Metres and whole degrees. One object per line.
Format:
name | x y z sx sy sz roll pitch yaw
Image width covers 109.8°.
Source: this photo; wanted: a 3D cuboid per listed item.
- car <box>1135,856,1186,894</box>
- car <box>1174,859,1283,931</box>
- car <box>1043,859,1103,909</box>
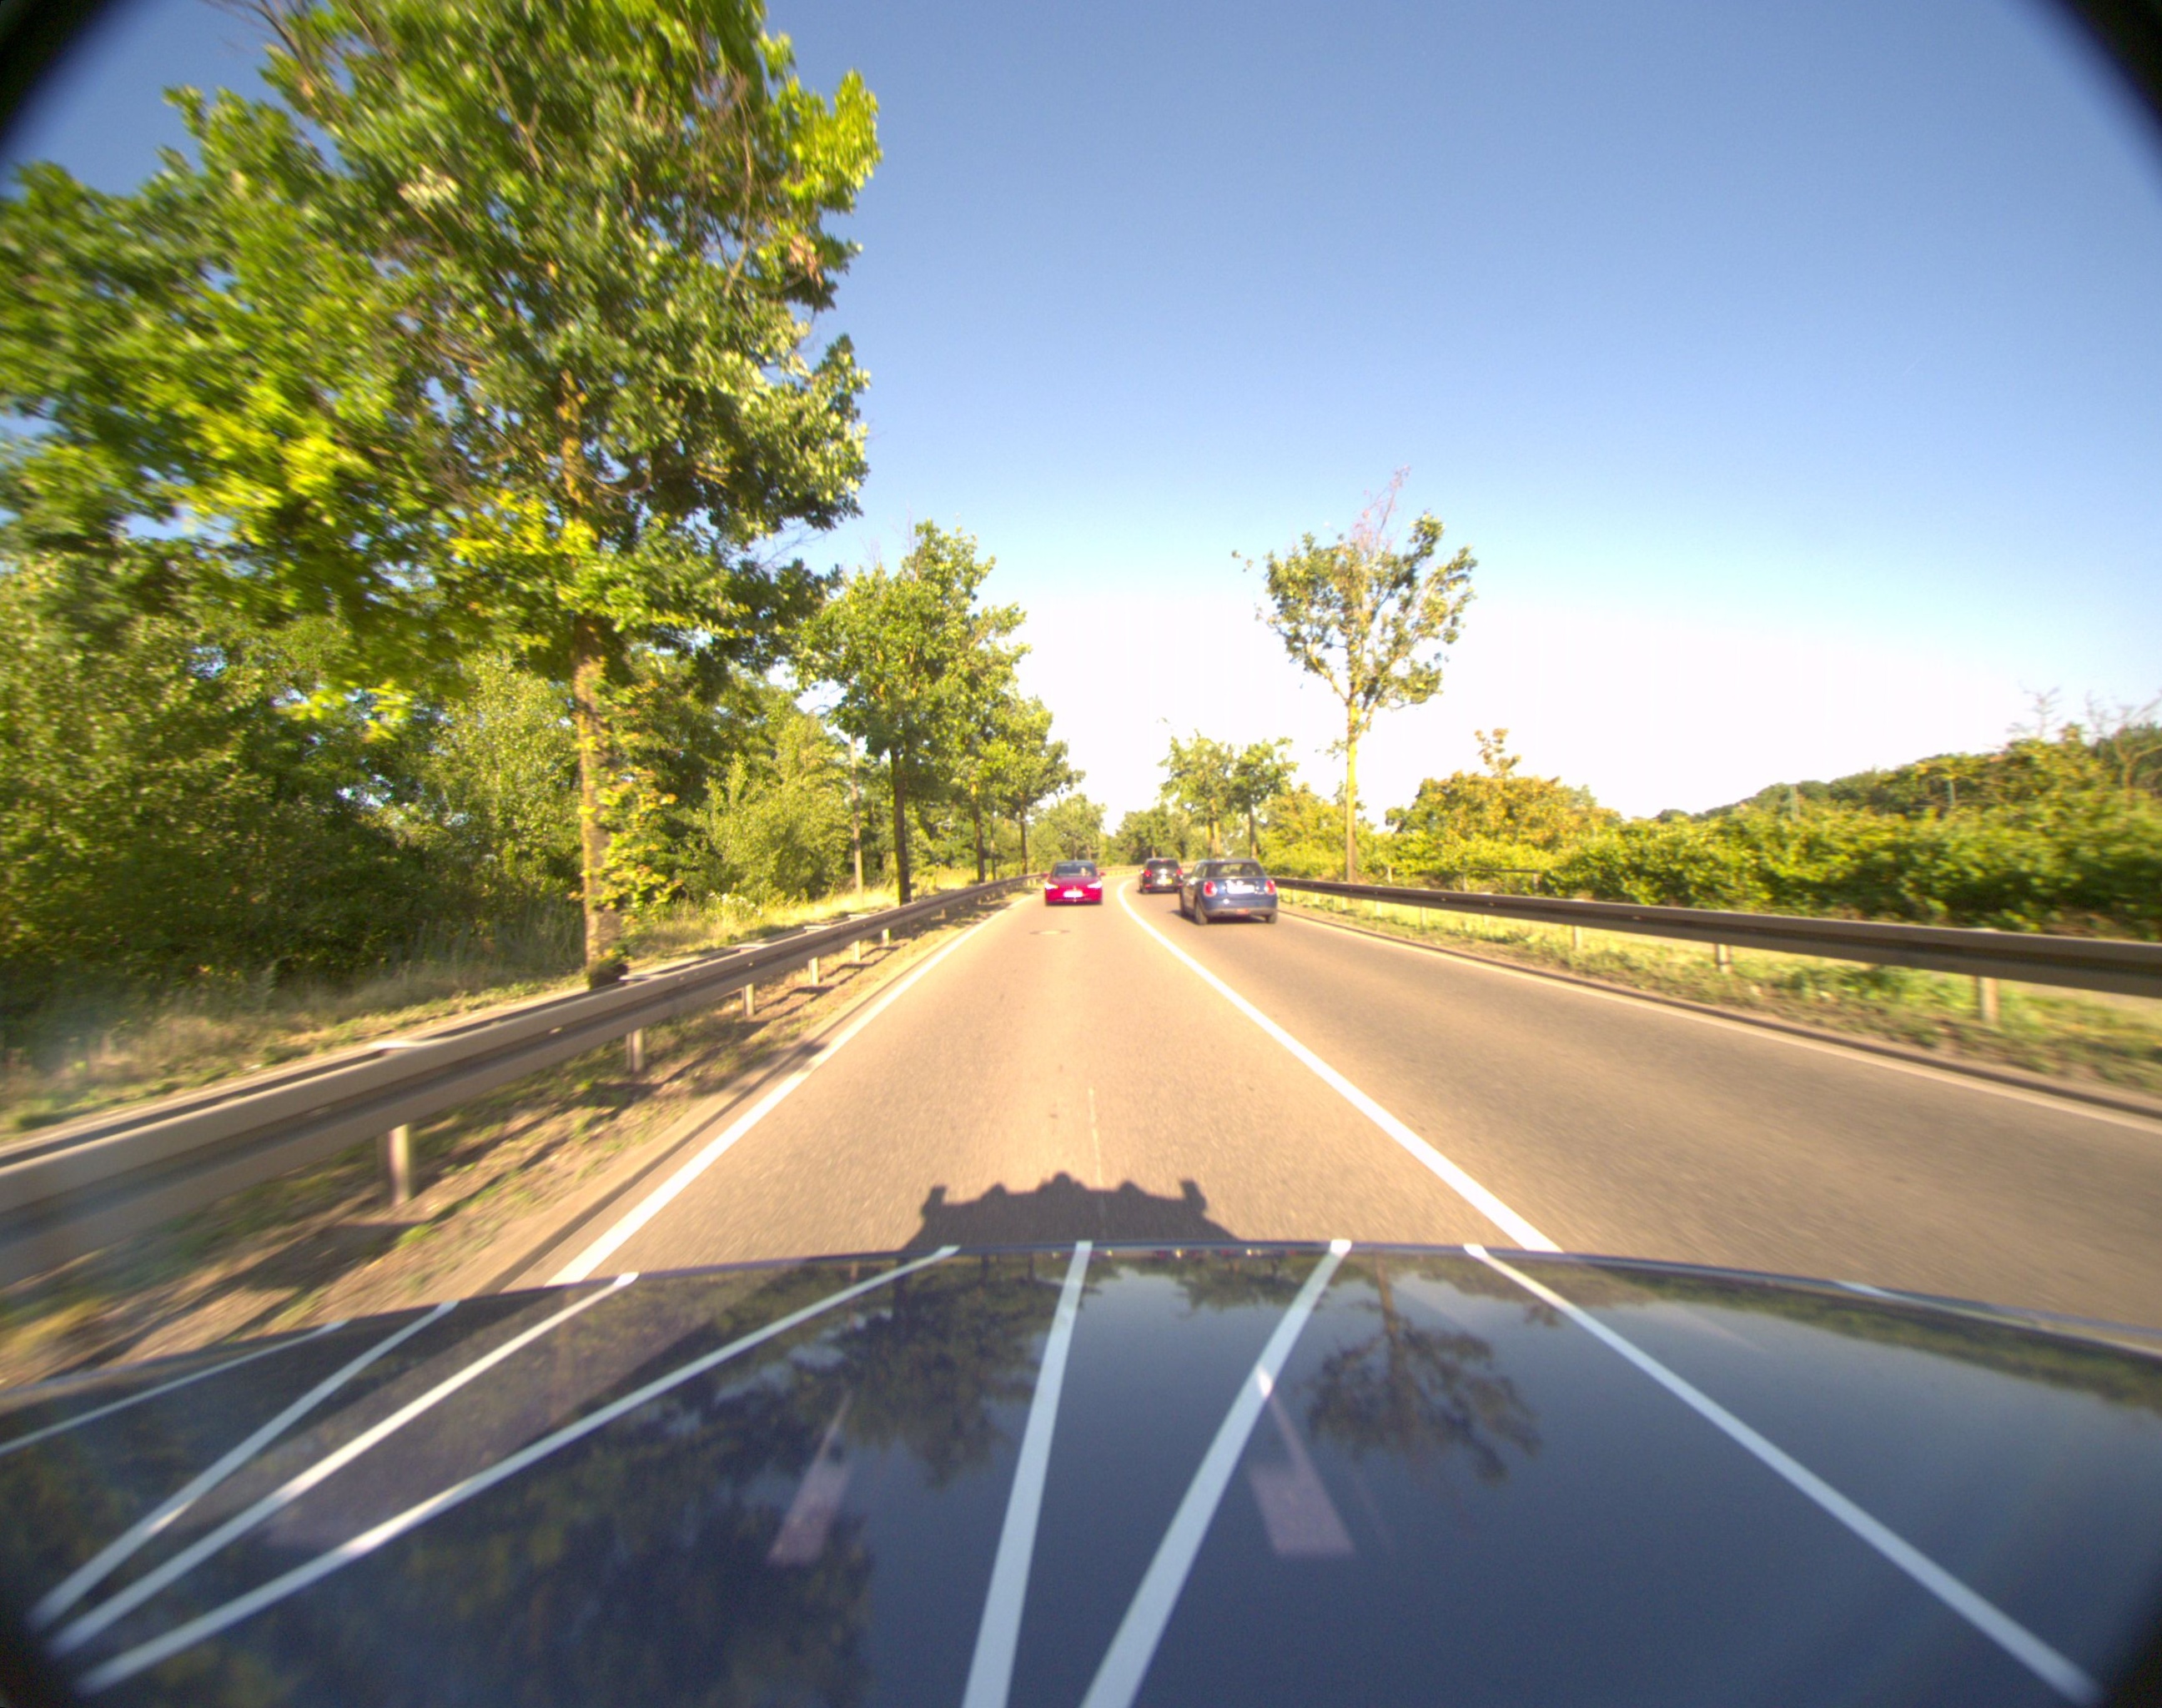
car | 3.234 0.826 31.476 1.700 1.458 3.859 -1 0 0
car | 3.261 0.848 17.497 1.687 1.415 3.858 -1 0 -1
car | -0.226 0.934 25.494 1.781 1.434 4.359 -2 1 1
